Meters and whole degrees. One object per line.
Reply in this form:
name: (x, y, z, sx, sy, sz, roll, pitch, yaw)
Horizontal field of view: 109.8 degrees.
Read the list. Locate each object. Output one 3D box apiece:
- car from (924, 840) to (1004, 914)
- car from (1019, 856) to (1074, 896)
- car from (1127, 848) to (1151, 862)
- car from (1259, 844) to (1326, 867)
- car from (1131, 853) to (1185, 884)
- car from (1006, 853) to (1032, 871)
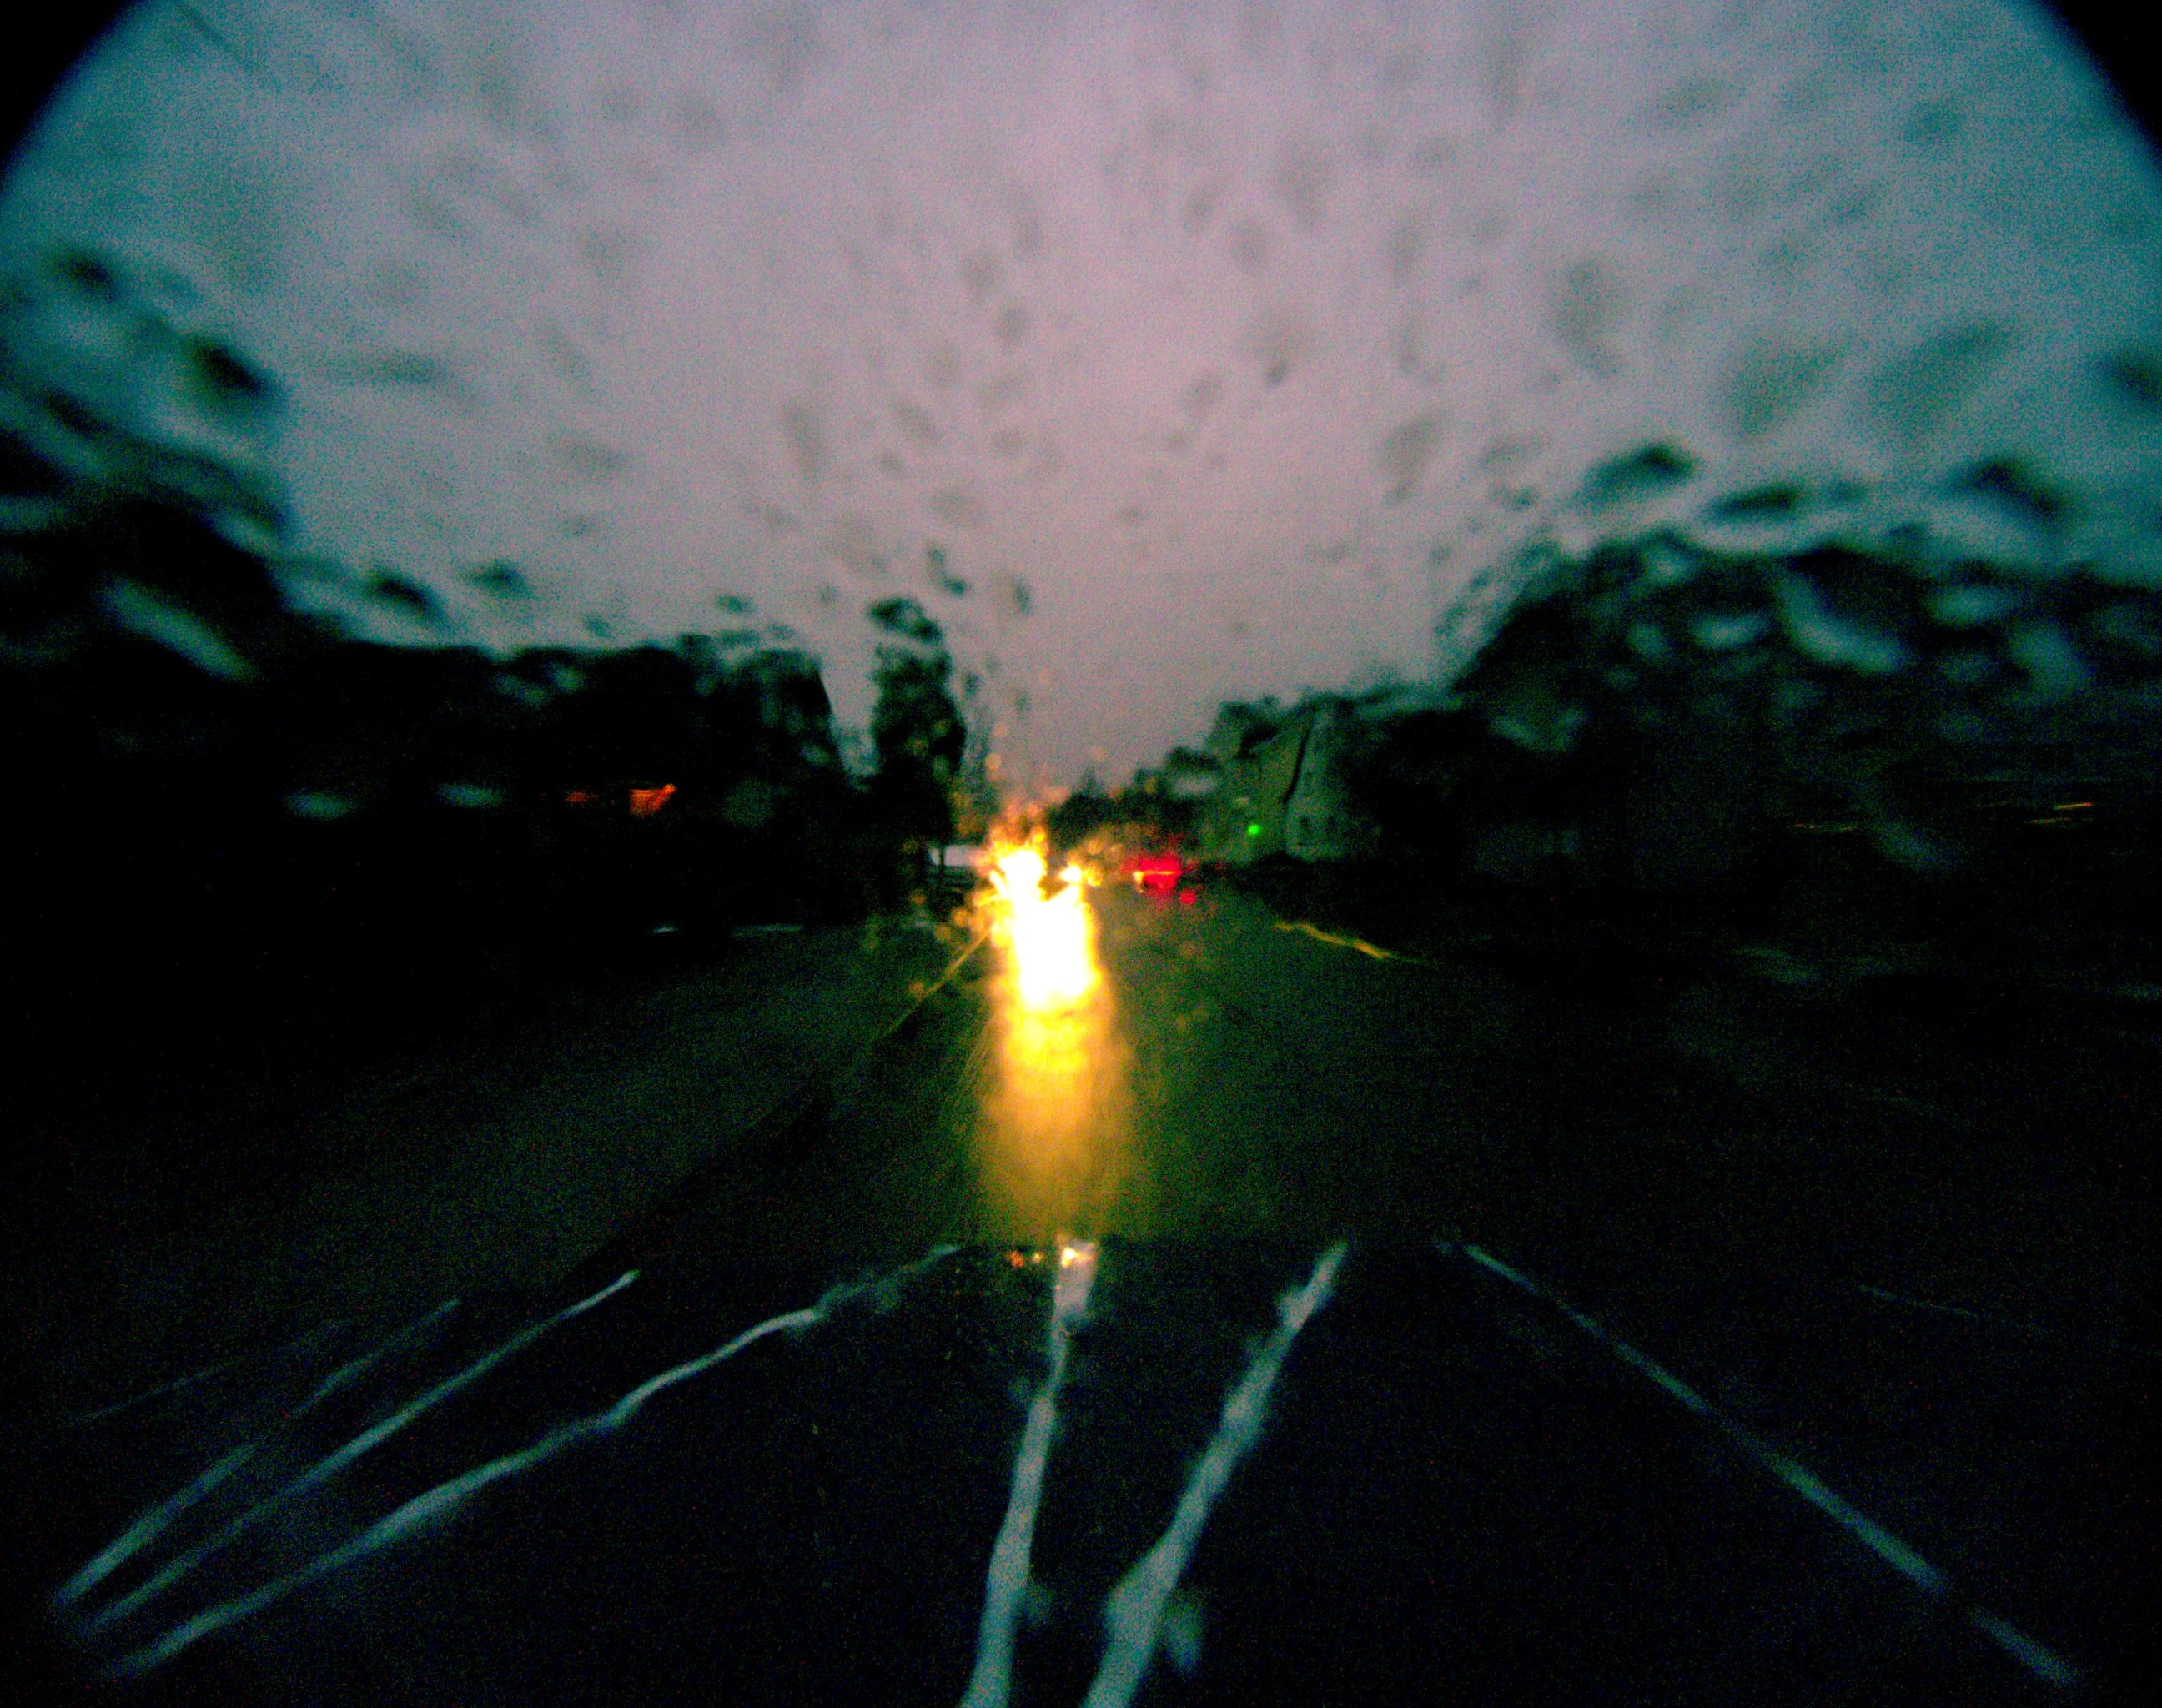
car: (-3.514, 0.637, 23.844, 1.983, 2.002, 5.742, 2, 0, -4)
car: (-1.538, 0.900, 32.385, 2.000, 1.575, 3.997, 0, 0, -8)
car: (6.090, 0.066, 80.103, 1.787, 1.358, 3.997, -1, 1, -7)
car: (14.460, 0.096, 52.046, 4.000, 1.591, 1.920, 0, 1, -9)
car: (3.969, 0.731, 39.764, 1.913, 1.479, 4.565, -2, 0, -6)
car: (-5.906, 0.747, 71.993, 2.001, 1.660, 3.995, 0, 1, -12)
